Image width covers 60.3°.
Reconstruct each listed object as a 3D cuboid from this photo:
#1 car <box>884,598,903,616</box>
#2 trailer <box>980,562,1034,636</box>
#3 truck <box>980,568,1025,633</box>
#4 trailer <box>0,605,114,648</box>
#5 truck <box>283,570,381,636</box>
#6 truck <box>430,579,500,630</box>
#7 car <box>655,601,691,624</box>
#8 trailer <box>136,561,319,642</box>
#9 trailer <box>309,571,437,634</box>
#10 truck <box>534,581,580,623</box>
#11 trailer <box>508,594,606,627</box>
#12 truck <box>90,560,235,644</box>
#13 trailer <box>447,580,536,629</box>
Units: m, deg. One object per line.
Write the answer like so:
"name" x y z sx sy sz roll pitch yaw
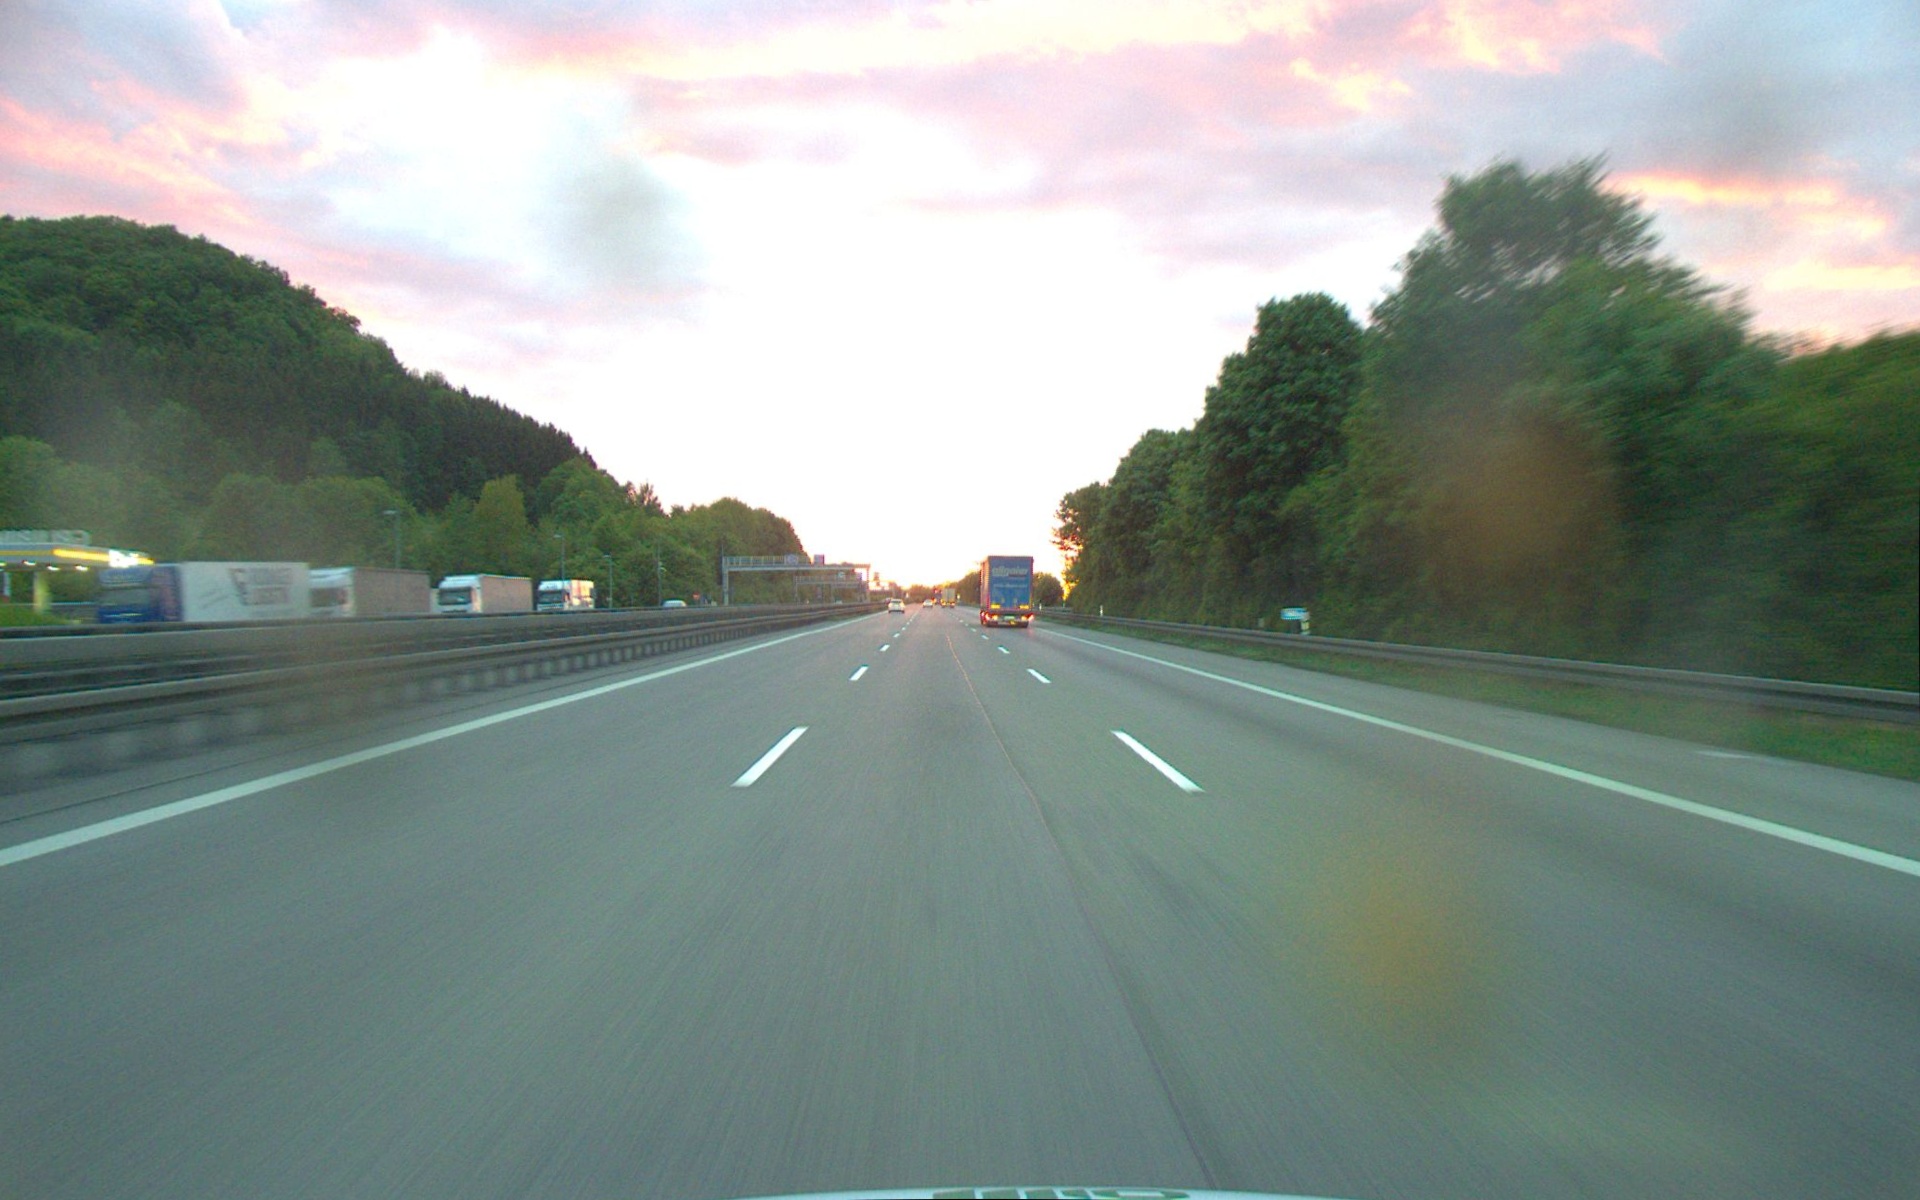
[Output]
"car" -7.306 0.782 181.980 1.972 1.780 3.901 -3 0 -2
"trailer" 2.739 -0.005 100.522 2.715 4.158 13.736 1 -1 0
"truck" 2.720 0.042 107.544 2.680 4.066 5.849 1 -1 0
"trailer" -80.086 2.266 142.322 2.878 3.581 13.384 -1 -1 32
"truck" -34.759 0.142 91.828 2.815 3.485 6.725 1 0 0
"truck" -34.879 0.309 116.786 2.814 3.485 6.725 1 0 0
"car" -21.651 0.933 124.820 1.953 1.621 4.739 1 0 -1
"trailer" -34.724 0.071 79.224 2.814 3.485 13.224 1 0 0
"trailer" -34.786 0.141 98.776 2.814 3.485 13.569 1 0 0
"truck" -34.323 0.171 141.060 2.817 3.485 6.719 1 0 -5
"trailer" -47.346 1.233 195.048 3.003 3.743 13.321 1 0 29
"truck" -34.752 0.092 72.382 2.814 3.435 7.174 1 0 0
"trailer" -34.910 0.321 123.845 2.815 3.485 13.848 1 0 0
